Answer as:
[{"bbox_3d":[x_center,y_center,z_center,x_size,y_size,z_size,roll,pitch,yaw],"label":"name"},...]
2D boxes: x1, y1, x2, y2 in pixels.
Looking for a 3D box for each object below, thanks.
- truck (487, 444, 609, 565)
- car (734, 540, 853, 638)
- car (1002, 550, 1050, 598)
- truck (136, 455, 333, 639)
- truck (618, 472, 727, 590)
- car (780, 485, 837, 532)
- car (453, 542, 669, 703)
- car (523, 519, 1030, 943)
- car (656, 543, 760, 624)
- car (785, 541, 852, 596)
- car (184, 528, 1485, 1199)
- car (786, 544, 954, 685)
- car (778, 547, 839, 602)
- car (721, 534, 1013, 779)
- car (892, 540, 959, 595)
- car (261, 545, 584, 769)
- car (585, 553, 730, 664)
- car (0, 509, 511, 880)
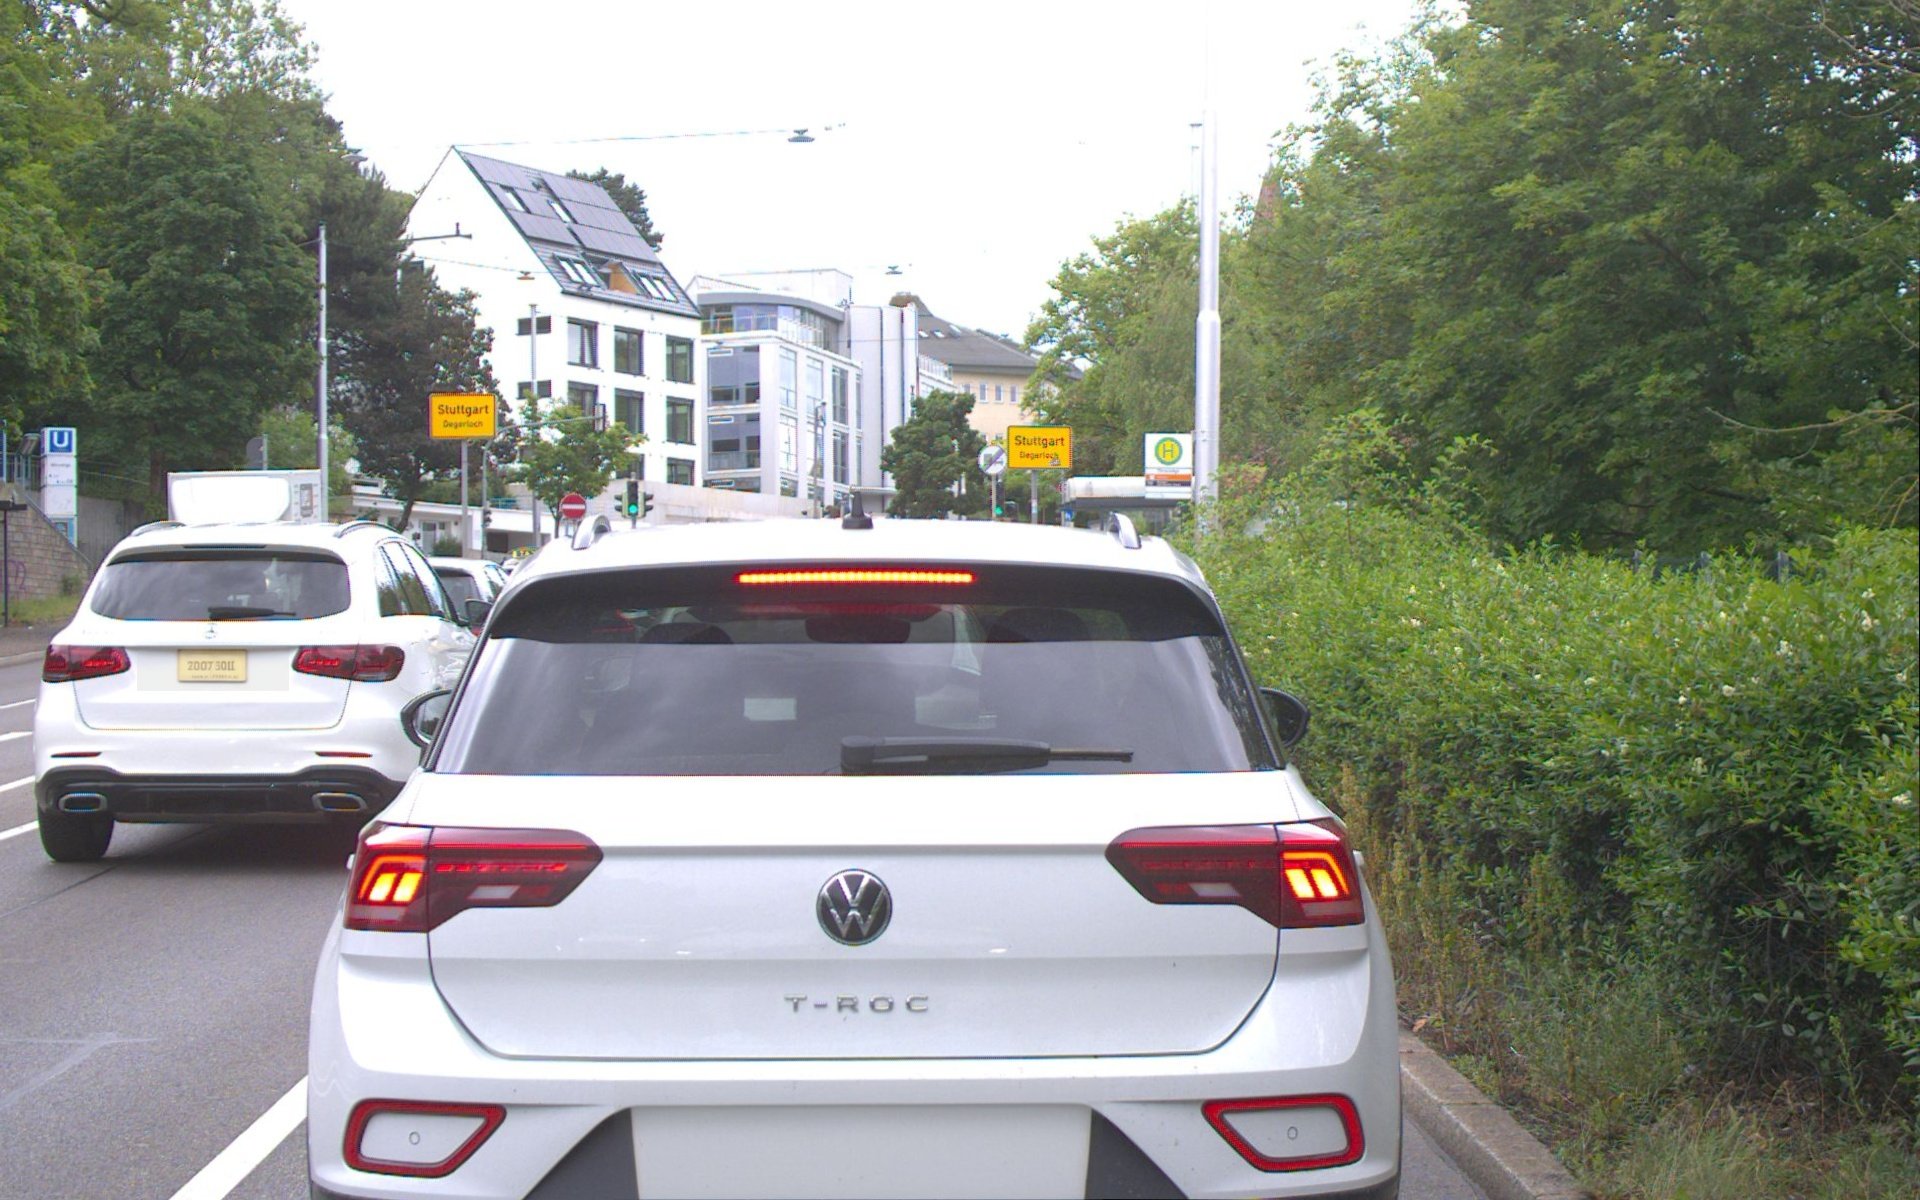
[{"bbox_3d":[-9.637,-2.225,80.780,2.362,2.697,4.478,-2,1,-1],"label":"truck"},{"bbox_3d":[-2.697,-0.200,56.396,1.829,1.520,4.000,-1,1,-1],"label":"car"},{"bbox_3d":[2.876,-1.130,151.313,1.993,2.007,4.000,-1,0,0],"label":"car"},{"bbox_3d":[-12.803,-0.919,61.133,2.293,3.040,6.980,-1,1,-3],"label":"truck"},{"bbox_3d":[-7.089,-1.704,85.314,2.362,2.772,4.478,-2,1,-1],"label":"truck"},{"bbox_3d":[-5.111,-3.093,116.612,1.829,1.520,4.000,-1,1,-1],"label":"car"},{"bbox_3d":[-4.025,0.187,35.237,1.829,1.520,4.000,-1,1,-1],"label":"car"},{"bbox_3d":[-0.722,0.448,14.609,1.829,1.520,4.000,-1,1,-1],"label":"car"},{"bbox_3d":[-4.945,-0.350,67.765,1.829,1.520,4.000,-1,1,-1],"label":"car"},{"bbox_3d":[-4.048,-0.930,98.987,1.829,1.520,4.000,-1,1,-1],"label":"car"},{"bbox_3d":[-0.222,0.632,6.856,1.829,1.520,4.000,0,1,-1],"label":"car"},{"bbox_3d":[-1.050,0.129,40.071,1.829,1.520,4.000,-1,1,-1],"label":"car"},{"bbox_3d":[-4.779,-0.812,109.171,1.815,1.651,3.929,-2,1,-1],"label":"car"},{"bbox_3d":[-0.642,0.328,23.827,1.829,1.520,4.000,-1,1,-1],"label":"car"},{"bbox_3d":[-0.997,-0.937,97.943,1.829,1.520,4.000,-1,1,-1],"label":"car"},{"bbox_3d":[-3.879,0.353,25.403,1.829,1.492,4.000,-1,1,-1],"label":"car"},{"bbox_3d":[-4.377,0.094,50.220,1.829,1.520,4.000,-1,1,-1],"label":"car"},{"bbox_3d":[-3.467,0.397,17.514,1.918,1.664,4.000,0,1,-1],"label":"car"}]
